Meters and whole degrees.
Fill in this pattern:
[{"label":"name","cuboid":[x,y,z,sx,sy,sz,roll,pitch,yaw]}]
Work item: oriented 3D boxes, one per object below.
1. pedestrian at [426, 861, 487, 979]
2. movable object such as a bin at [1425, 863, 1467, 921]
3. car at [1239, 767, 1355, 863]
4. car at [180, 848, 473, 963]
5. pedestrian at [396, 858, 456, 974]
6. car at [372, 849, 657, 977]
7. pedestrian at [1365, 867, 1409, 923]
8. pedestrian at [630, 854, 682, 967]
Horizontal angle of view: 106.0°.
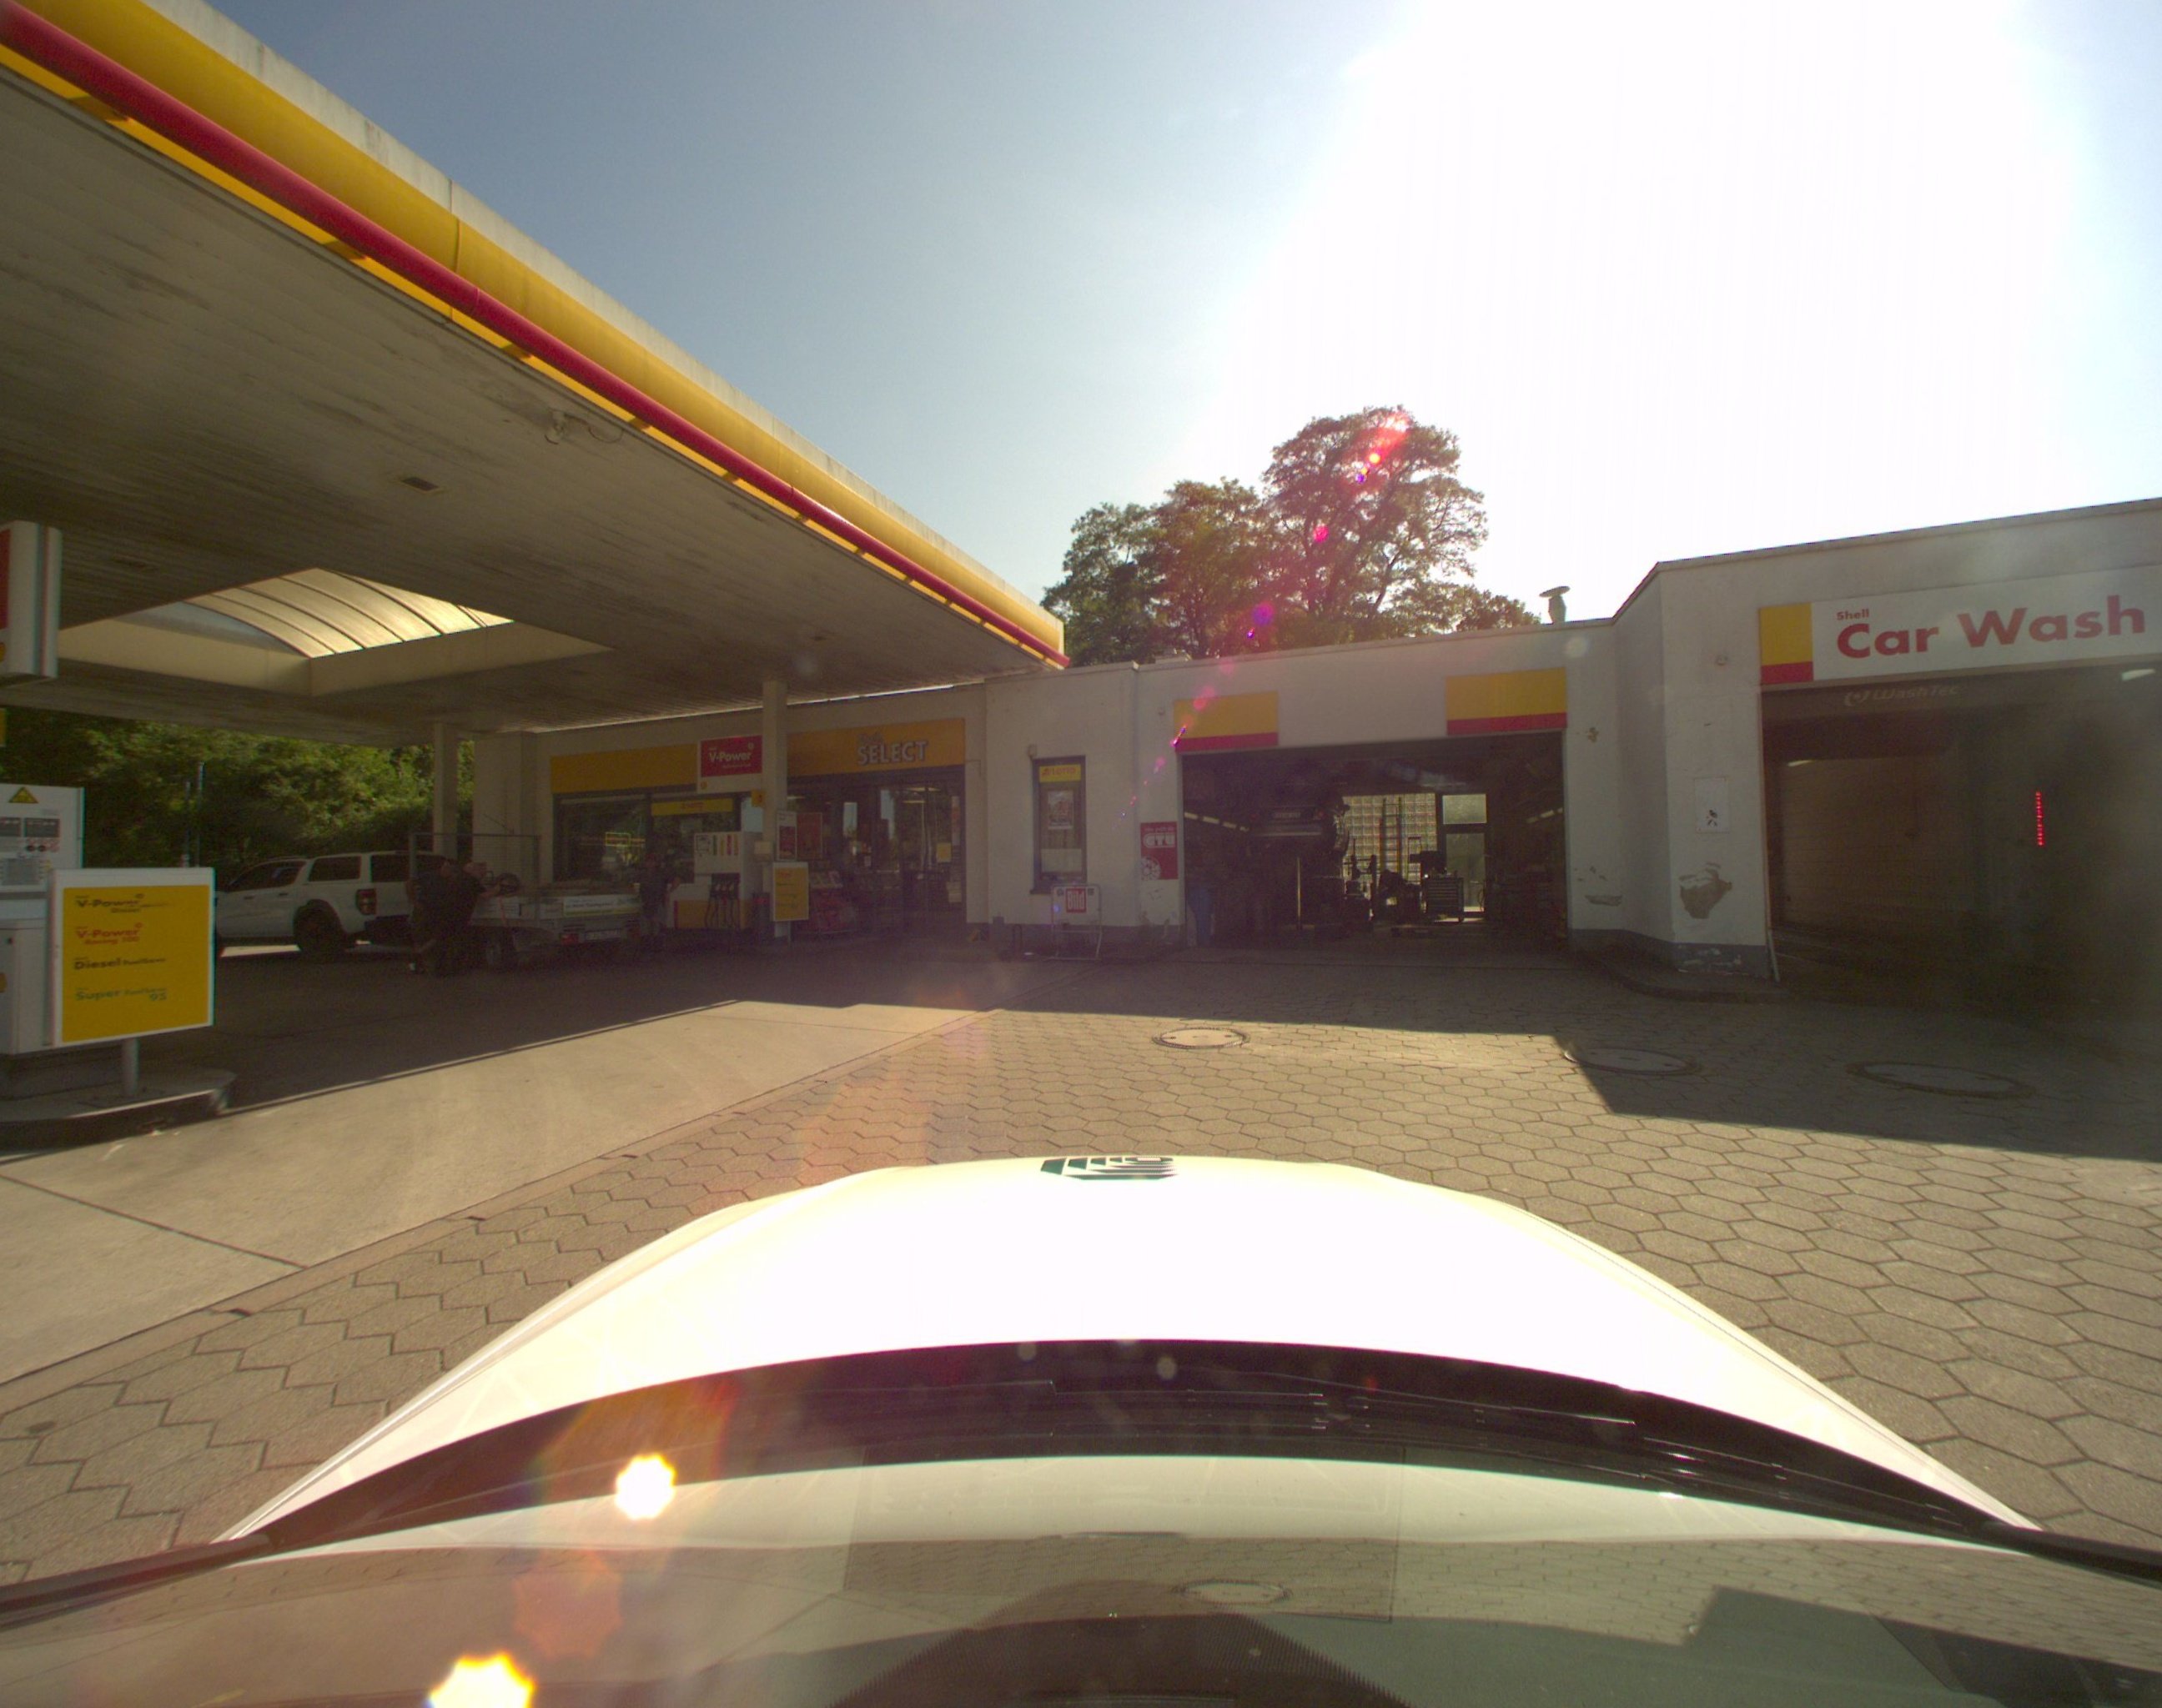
[{"label":"pedestrian","cuboid":[-8.697,0.898,11.343,0.470,1.593,0.503,-2,-2,25]},{"label":"movable object such as a bin","cuboid":[8.058,0.841,17.989,0.790,1.236,0.547,-2,-4,23]},{"label":"car","cuboid":[4.438,-0.653,16.338,1.632,1.486,4.021,-2,-3,23]},{"label":"car","cuboid":[-13.594,0.893,14.692,4.725,1.838,1.866,-1,-1,19]},{"label":"pedestrian","cuboid":[-9.467,0.875,11.780,0.470,1.632,0.503,-2,-2,25]},{"label":"car","cuboid":[-8.759,0.868,12.596,3.951,1.728,1.844,-2,-2,25]},{"label":"pedestrian","cuboid":[6.776,0.916,18.051,0.856,1.198,0.746,-2,-4,20]},{"label":"pedestrian","cuboid":[-6.443,0.847,12.356,0.495,1.668,0.478,-2,-2,22]}]
